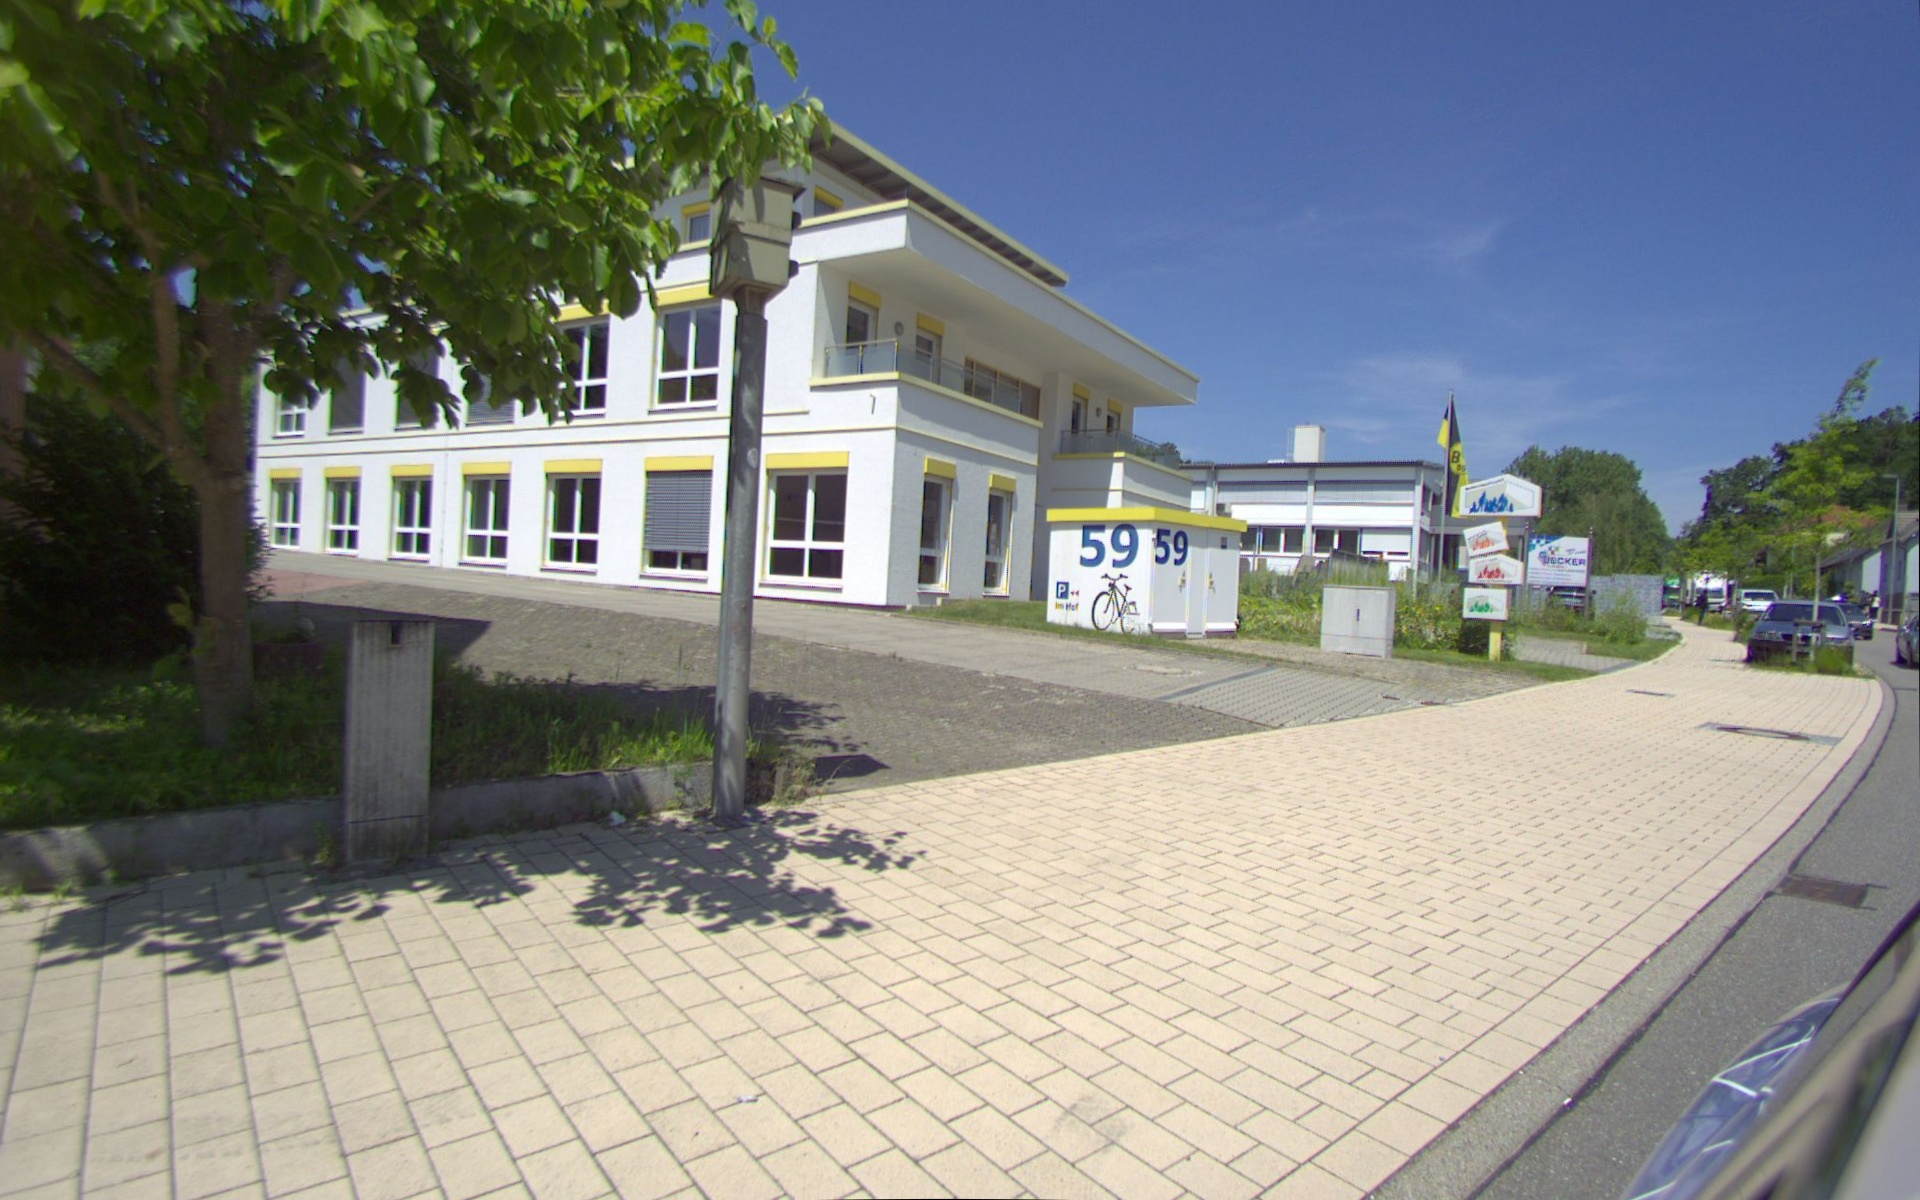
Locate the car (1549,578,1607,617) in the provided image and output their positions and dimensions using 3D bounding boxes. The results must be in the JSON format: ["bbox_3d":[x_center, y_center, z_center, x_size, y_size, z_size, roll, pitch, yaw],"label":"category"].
[{"bbox_3d":[27.568,-0.142,45.087,1.987,1.504,3.953,6,4,33],"label":"car"}]

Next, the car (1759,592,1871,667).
[{"bbox_3d":[18.559,0.575,21.938,1.670,1.393,3.939,4,3,42],"label":"car"}]

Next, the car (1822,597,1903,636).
[{"bbox_3d":[35.169,0.599,39.534,1.900,1.366,3.948,2,2,36],"label":"car"}]

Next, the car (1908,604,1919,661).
[{"bbox_3d":[22.636,0.762,22.716,1.661,1.276,3.502,3,2,39],"label":"car"}]

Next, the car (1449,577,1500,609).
[{"bbox_3d":[24.245,-0.342,47.657,1.733,1.382,3.795,2,1,33],"label":"car"}]

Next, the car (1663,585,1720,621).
[{"bbox_3d":[34.392,0.109,47.664,1.637,1.548,3.826,2,1,28],"label":"car"}]

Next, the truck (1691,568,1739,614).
[{"bbox_3d":[60.943,-0.769,81.830,2.792,3.455,8.014,4,3,36],"label":"truck"}]

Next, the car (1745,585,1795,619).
[{"bbox_3d":[47.268,0.087,59.119,1.958,1.856,4.407,4,3,36],"label":"car"}]
